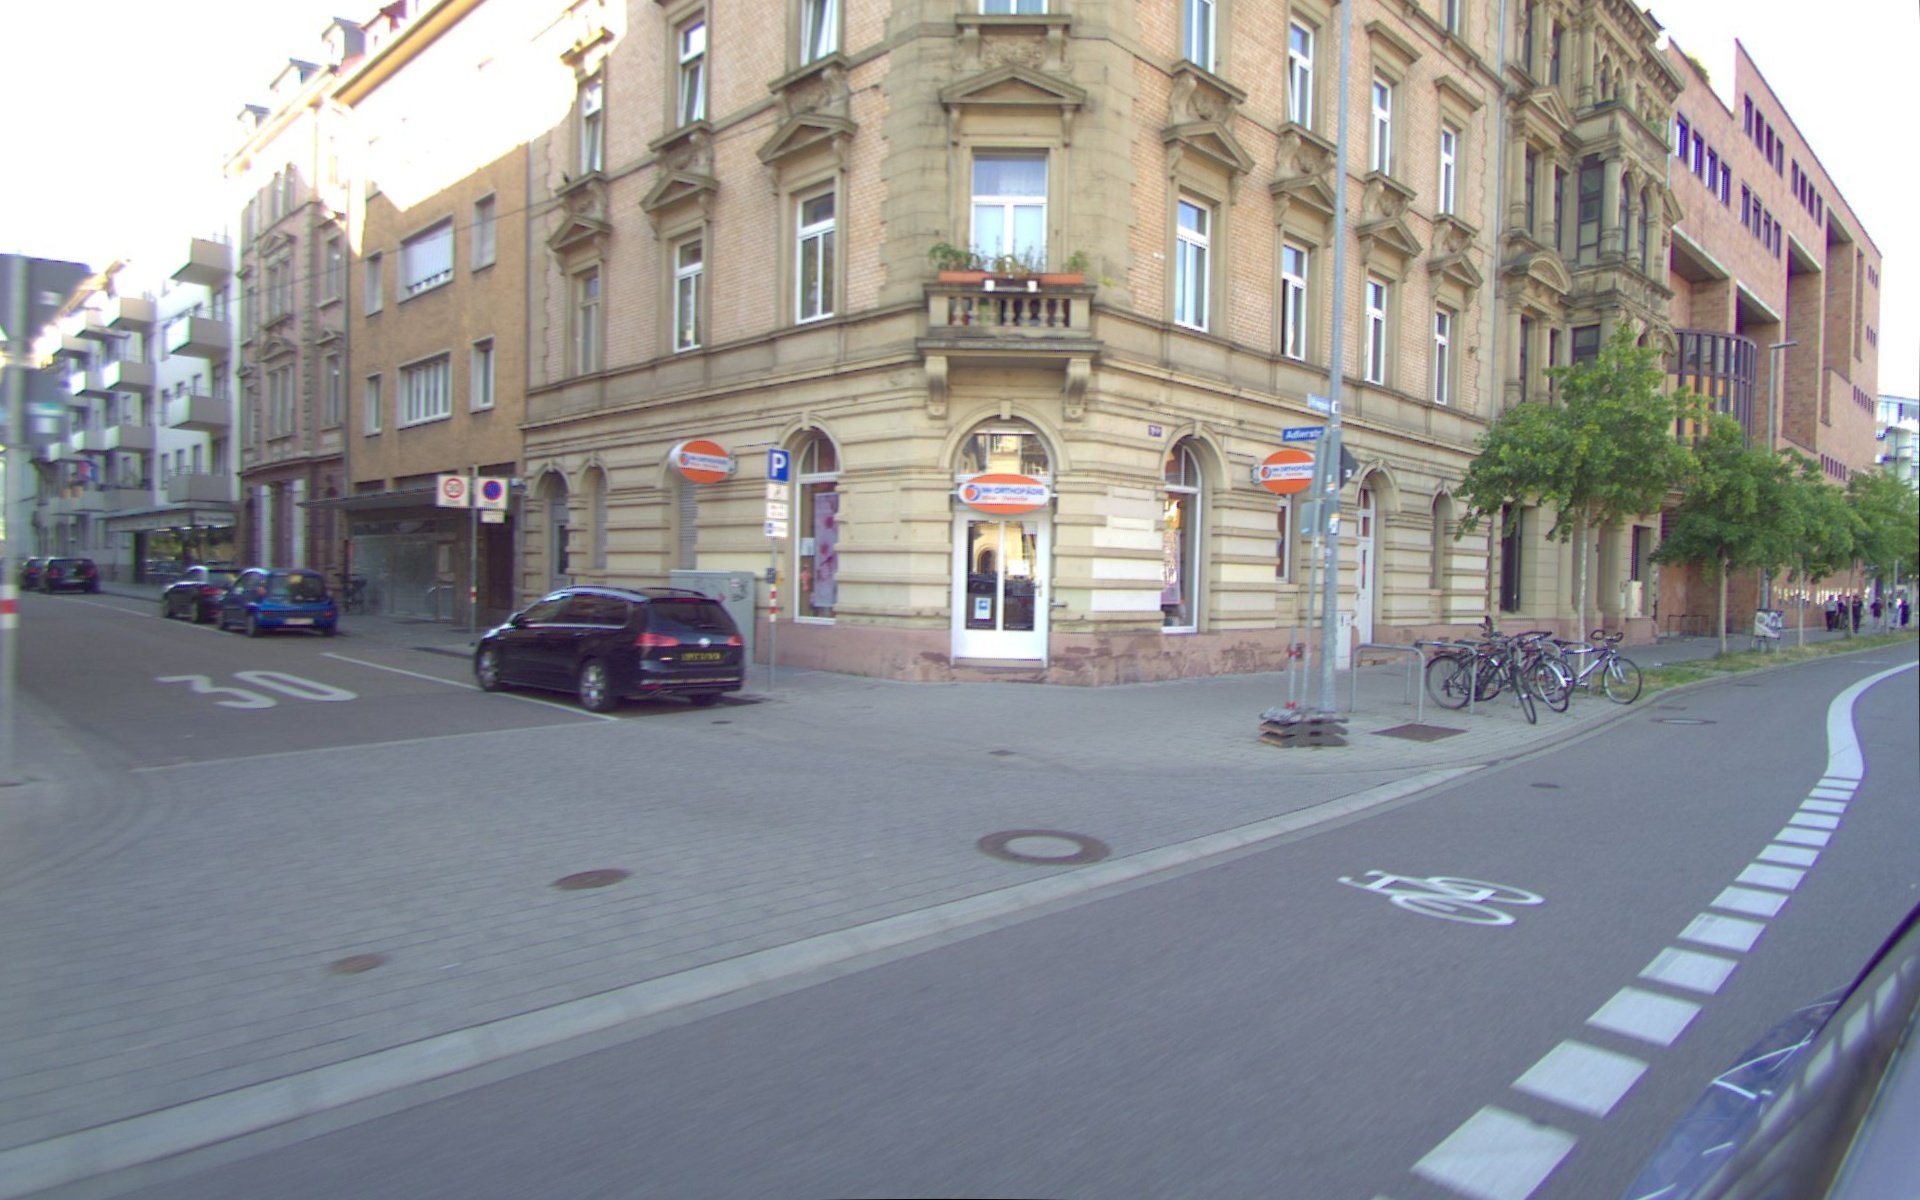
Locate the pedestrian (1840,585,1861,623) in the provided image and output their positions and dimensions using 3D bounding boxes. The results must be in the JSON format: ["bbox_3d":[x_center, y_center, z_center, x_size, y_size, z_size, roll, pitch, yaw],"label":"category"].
[{"bbox_3d":[42.263,0.201,48.021,0.681,1.778,0.539,0,1,-31],"label":"pedestrian"}]

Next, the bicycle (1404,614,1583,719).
[{"bbox_3d":[6.711,0.793,12.803,0.653,1.077,1.827,1,4,-45],"label":"bicycle"}]

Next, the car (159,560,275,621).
[{"bbox_3d":[-19.021,-0.268,25.864,3.268,1.438,1.596,2,2,39],"label":"car"}]

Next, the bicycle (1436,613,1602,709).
[{"bbox_3d":[7.657,0.803,13.928,0.653,1.077,1.827,1,4,-45],"label":"bicycle"}]

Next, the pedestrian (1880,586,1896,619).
[{"bbox_3d":[51.065,0.135,55.689,0.527,1.778,0.422,0,1,-25],"label":"pedestrian"}]

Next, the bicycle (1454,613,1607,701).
[{"bbox_3d":[8.469,0.807,15.076,0.653,1.077,1.827,1,4,-45],"label":"bicycle"}]

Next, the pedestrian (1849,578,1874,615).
[{"bbox_3d":[44.007,-0.155,49.428,0.682,1.778,0.735,0,1,-34],"label":"pedestrian"}]

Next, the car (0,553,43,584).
[{"bbox_3d":[-49.250,-1.654,52.753,3.495,1.521,1.596,2,2,39],"label":"car"}]

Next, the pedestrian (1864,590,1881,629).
[{"bbox_3d":[42.112,0.449,46.700,0.457,1.778,0.537,0,1,-45],"label":"pedestrian"}]

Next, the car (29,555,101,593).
[{"bbox_3d":[-36.215,-1.060,40.923,3.495,1.438,1.596,2,2,39],"label":"car"}]

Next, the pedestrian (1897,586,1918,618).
[{"bbox_3d":[53.187,0.117,56.815,0.561,1.734,0.642,1,1,-3],"label":"pedestrian"}]

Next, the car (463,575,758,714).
[{"bbox_3d":[-4.530,0.433,12.841,4.134,1.404,1.596,2,3,39],"label":"car"}]

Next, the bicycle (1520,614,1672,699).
[{"bbox_3d":[9.776,0.838,15.614,0.653,1.077,1.827,1,4,-45],"label":"bicycle"}]

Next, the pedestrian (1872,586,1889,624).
[{"bbox_3d":[43.563,0.224,47.885,0.684,1.778,0.537,0,1,-44],"label":"pedestrian"}]

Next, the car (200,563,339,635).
[{"bbox_3d":[-15.341,-0.062,22.439,3.495,1.438,1.596,2,2,39],"label":"car"}]

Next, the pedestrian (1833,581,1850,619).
[{"bbox_3d":[41.206,-0.017,47.308,0.534,1.778,0.416,1,1,35],"label":"pedestrian"}]

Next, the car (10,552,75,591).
[{"bbox_3d":[-40.289,-1.267,44.416,3.495,1.632,1.596,2,2,39],"label":"car"}]

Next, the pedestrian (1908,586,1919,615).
[{"bbox_3d":[53.796,0.038,56.775,0.508,1.625,0.705,1,1,-2],"label":"pedestrian"}]

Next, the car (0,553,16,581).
[{"bbox_3d":[-53.038,-1.831,55.351,3.495,1.521,1.596,2,2,39],"label":"car"}]
